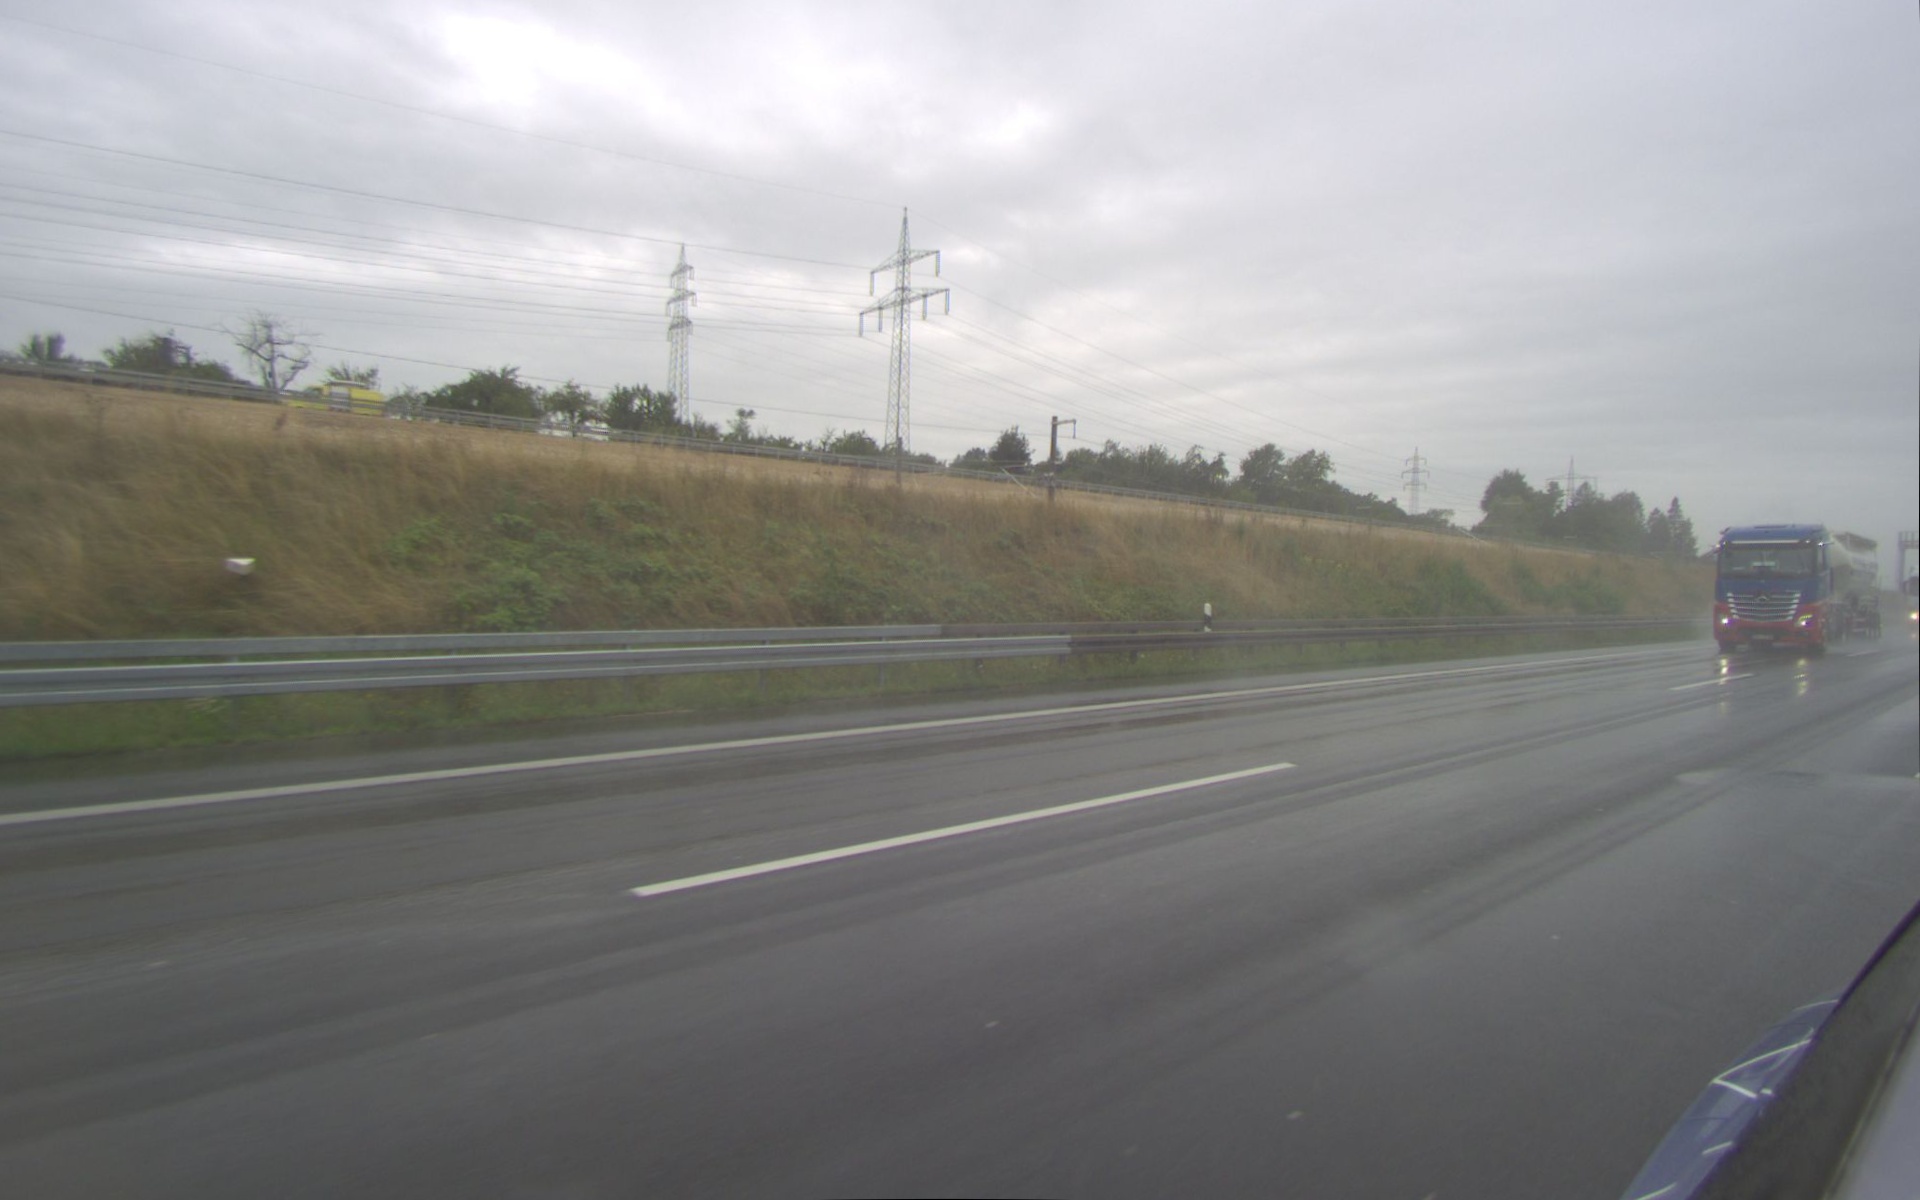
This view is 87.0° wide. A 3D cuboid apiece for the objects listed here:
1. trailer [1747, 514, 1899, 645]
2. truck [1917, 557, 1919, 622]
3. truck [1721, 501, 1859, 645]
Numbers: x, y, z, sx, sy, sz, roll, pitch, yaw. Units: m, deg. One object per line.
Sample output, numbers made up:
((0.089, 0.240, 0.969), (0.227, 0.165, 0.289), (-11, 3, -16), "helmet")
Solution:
((29.943, -0.505, 34.882), (10.872, 3.932, 2.501), (2, -1, -42), "trailer")
((61.123, -0.542, 62.375), (6.089, 3.939, 2.456), (2, -1, -41), "truck")
((25.423, -0.706, 30.920), (4.987, 4.034, 2.501), (2, -1, -41), "truck")
